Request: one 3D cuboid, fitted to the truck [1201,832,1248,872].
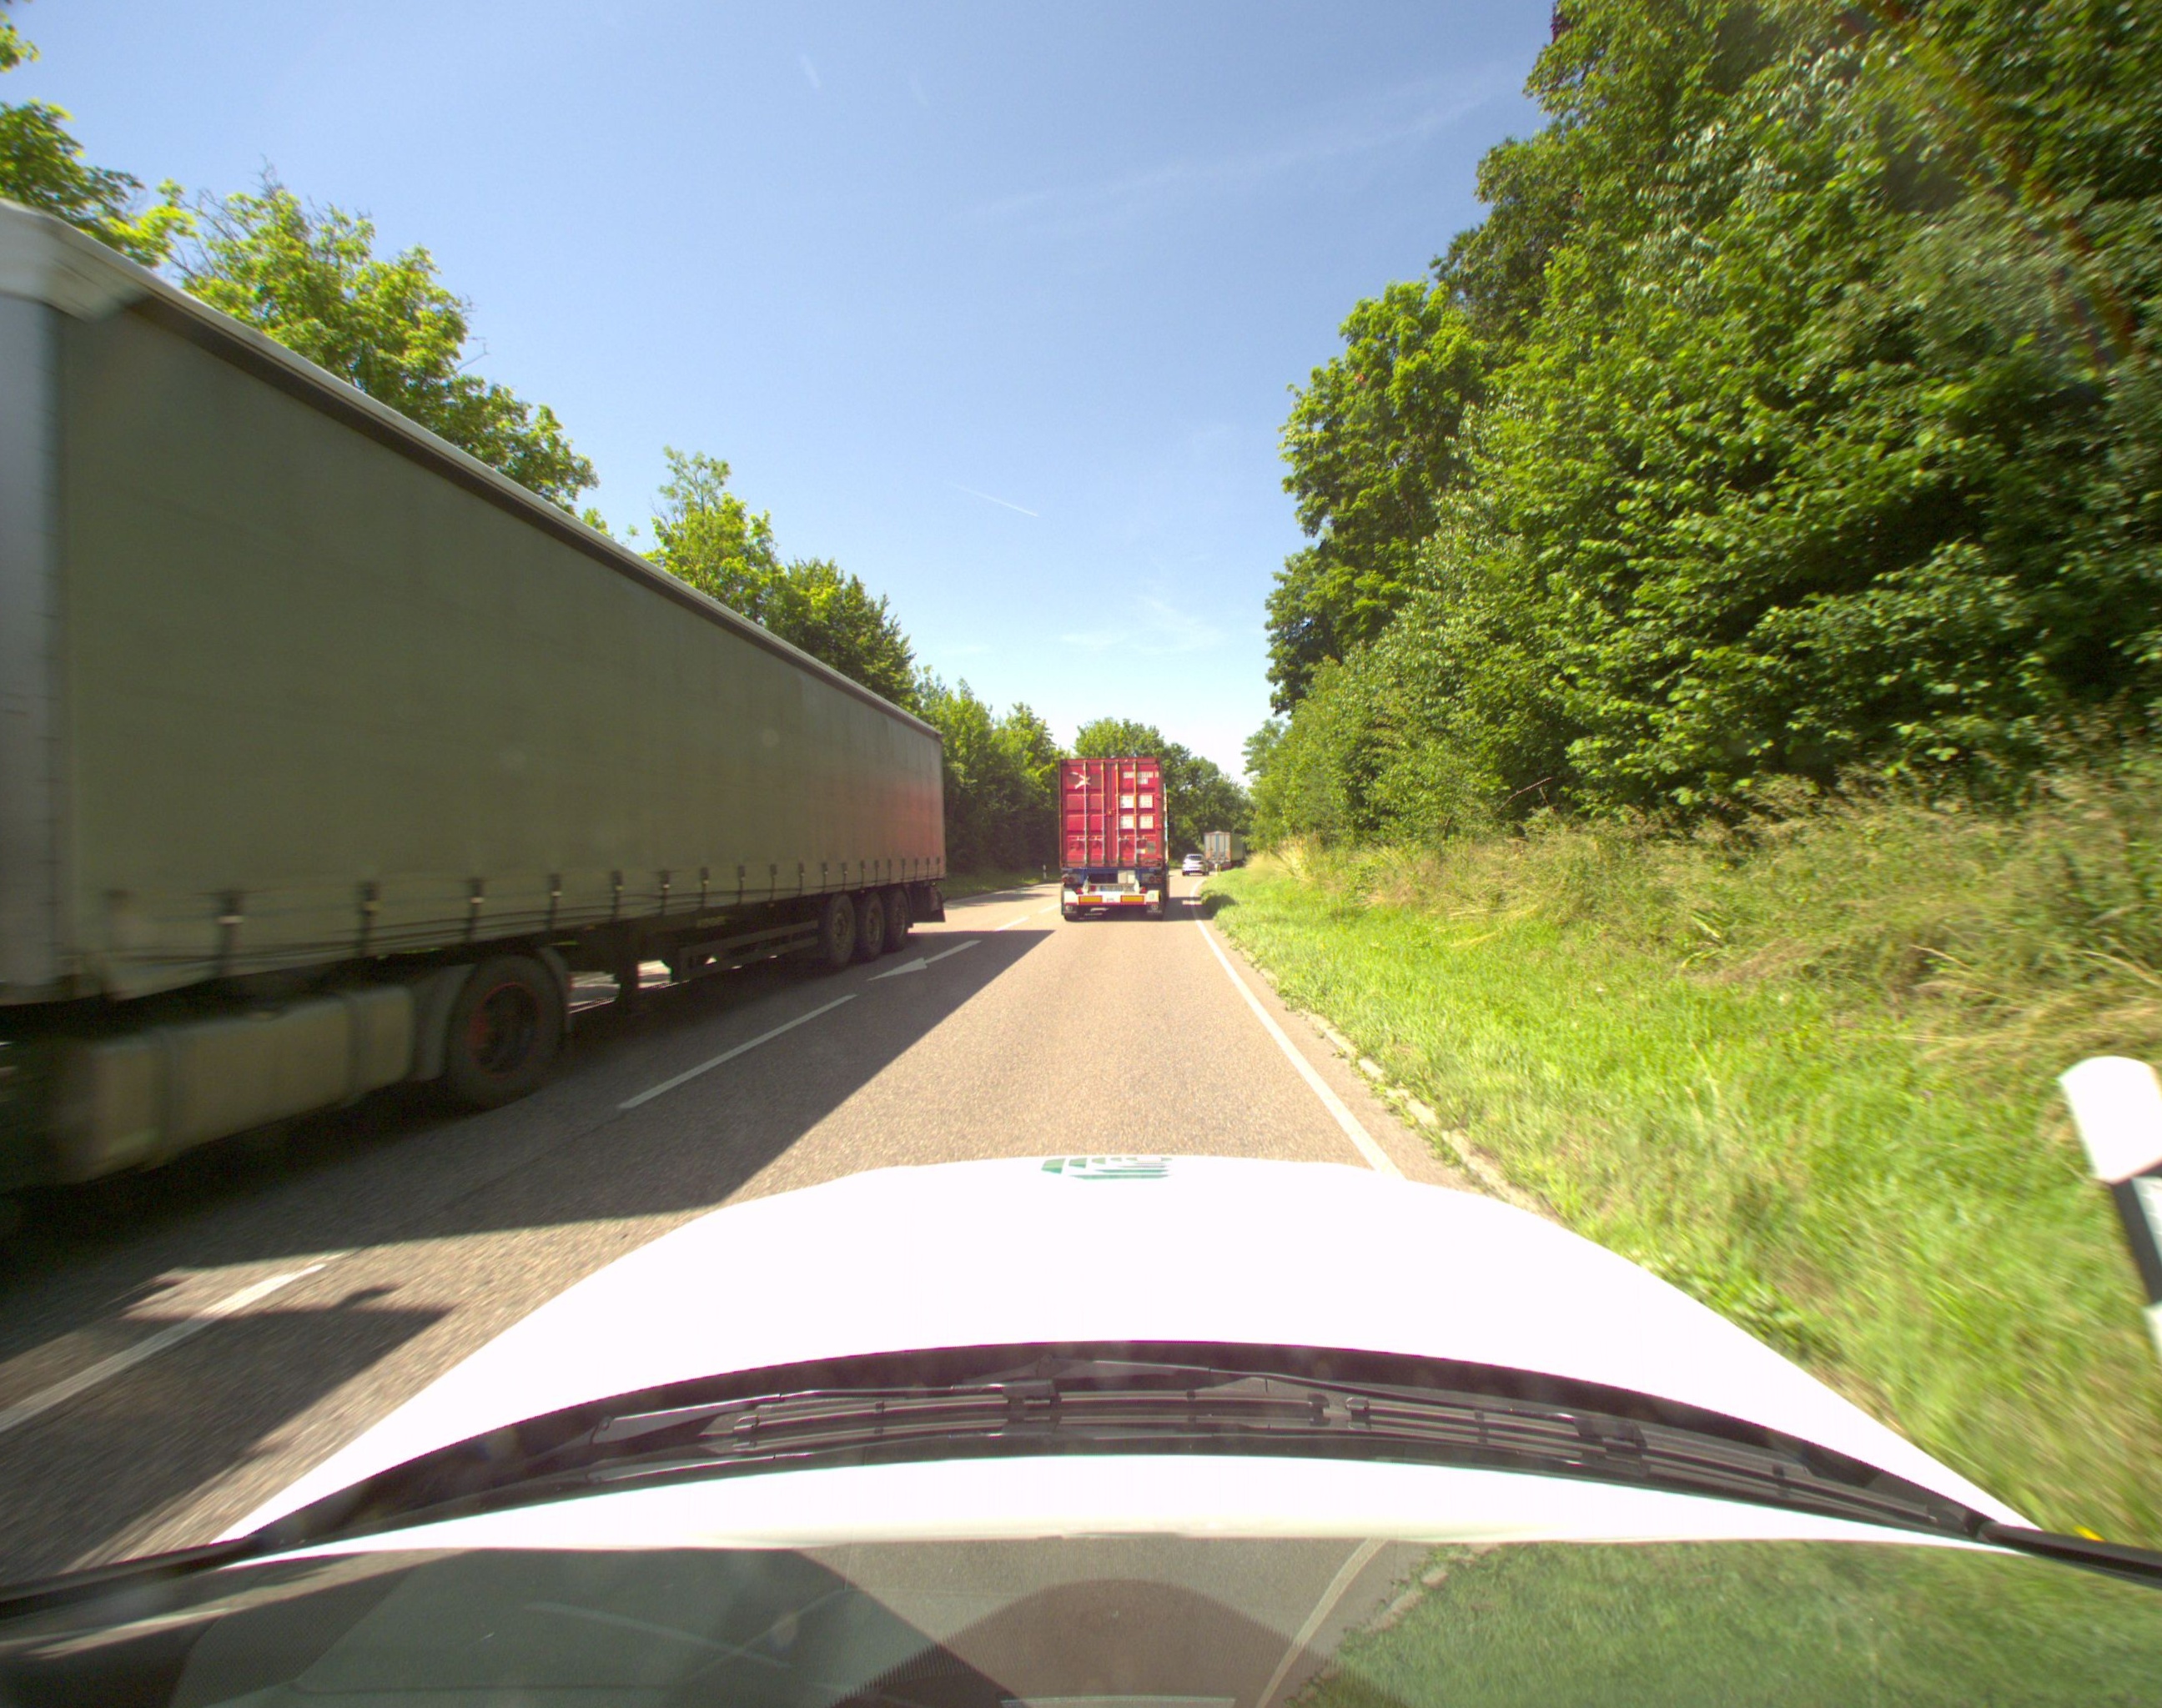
[{"bbox_3d":[15.384,-0.175,86.373,2.898,3.717,13.421,-3,-1,18],"label":"truck"}]

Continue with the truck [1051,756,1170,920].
[{"bbox_3d":[1.401,-0.293,25.697,2.634,3.806,13.383,-1,-1,7],"label":"truck"}]

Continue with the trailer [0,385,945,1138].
[{"bbox_3d":[-4.572,-0.449,10.225,2.908,4.183,11.278,-1,-1,5],"label":"trailer"}]

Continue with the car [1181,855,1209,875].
[{"bbox_3d":[8.988,0.841,63.991,1.820,1.433,4.014,-3,-1,13],"label":"car"}]

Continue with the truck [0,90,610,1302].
[{"bbox_3d":[-5.159,-0.539,3.127,2.908,4.183,5.926,-1,-1,5],"label":"truck"}]
